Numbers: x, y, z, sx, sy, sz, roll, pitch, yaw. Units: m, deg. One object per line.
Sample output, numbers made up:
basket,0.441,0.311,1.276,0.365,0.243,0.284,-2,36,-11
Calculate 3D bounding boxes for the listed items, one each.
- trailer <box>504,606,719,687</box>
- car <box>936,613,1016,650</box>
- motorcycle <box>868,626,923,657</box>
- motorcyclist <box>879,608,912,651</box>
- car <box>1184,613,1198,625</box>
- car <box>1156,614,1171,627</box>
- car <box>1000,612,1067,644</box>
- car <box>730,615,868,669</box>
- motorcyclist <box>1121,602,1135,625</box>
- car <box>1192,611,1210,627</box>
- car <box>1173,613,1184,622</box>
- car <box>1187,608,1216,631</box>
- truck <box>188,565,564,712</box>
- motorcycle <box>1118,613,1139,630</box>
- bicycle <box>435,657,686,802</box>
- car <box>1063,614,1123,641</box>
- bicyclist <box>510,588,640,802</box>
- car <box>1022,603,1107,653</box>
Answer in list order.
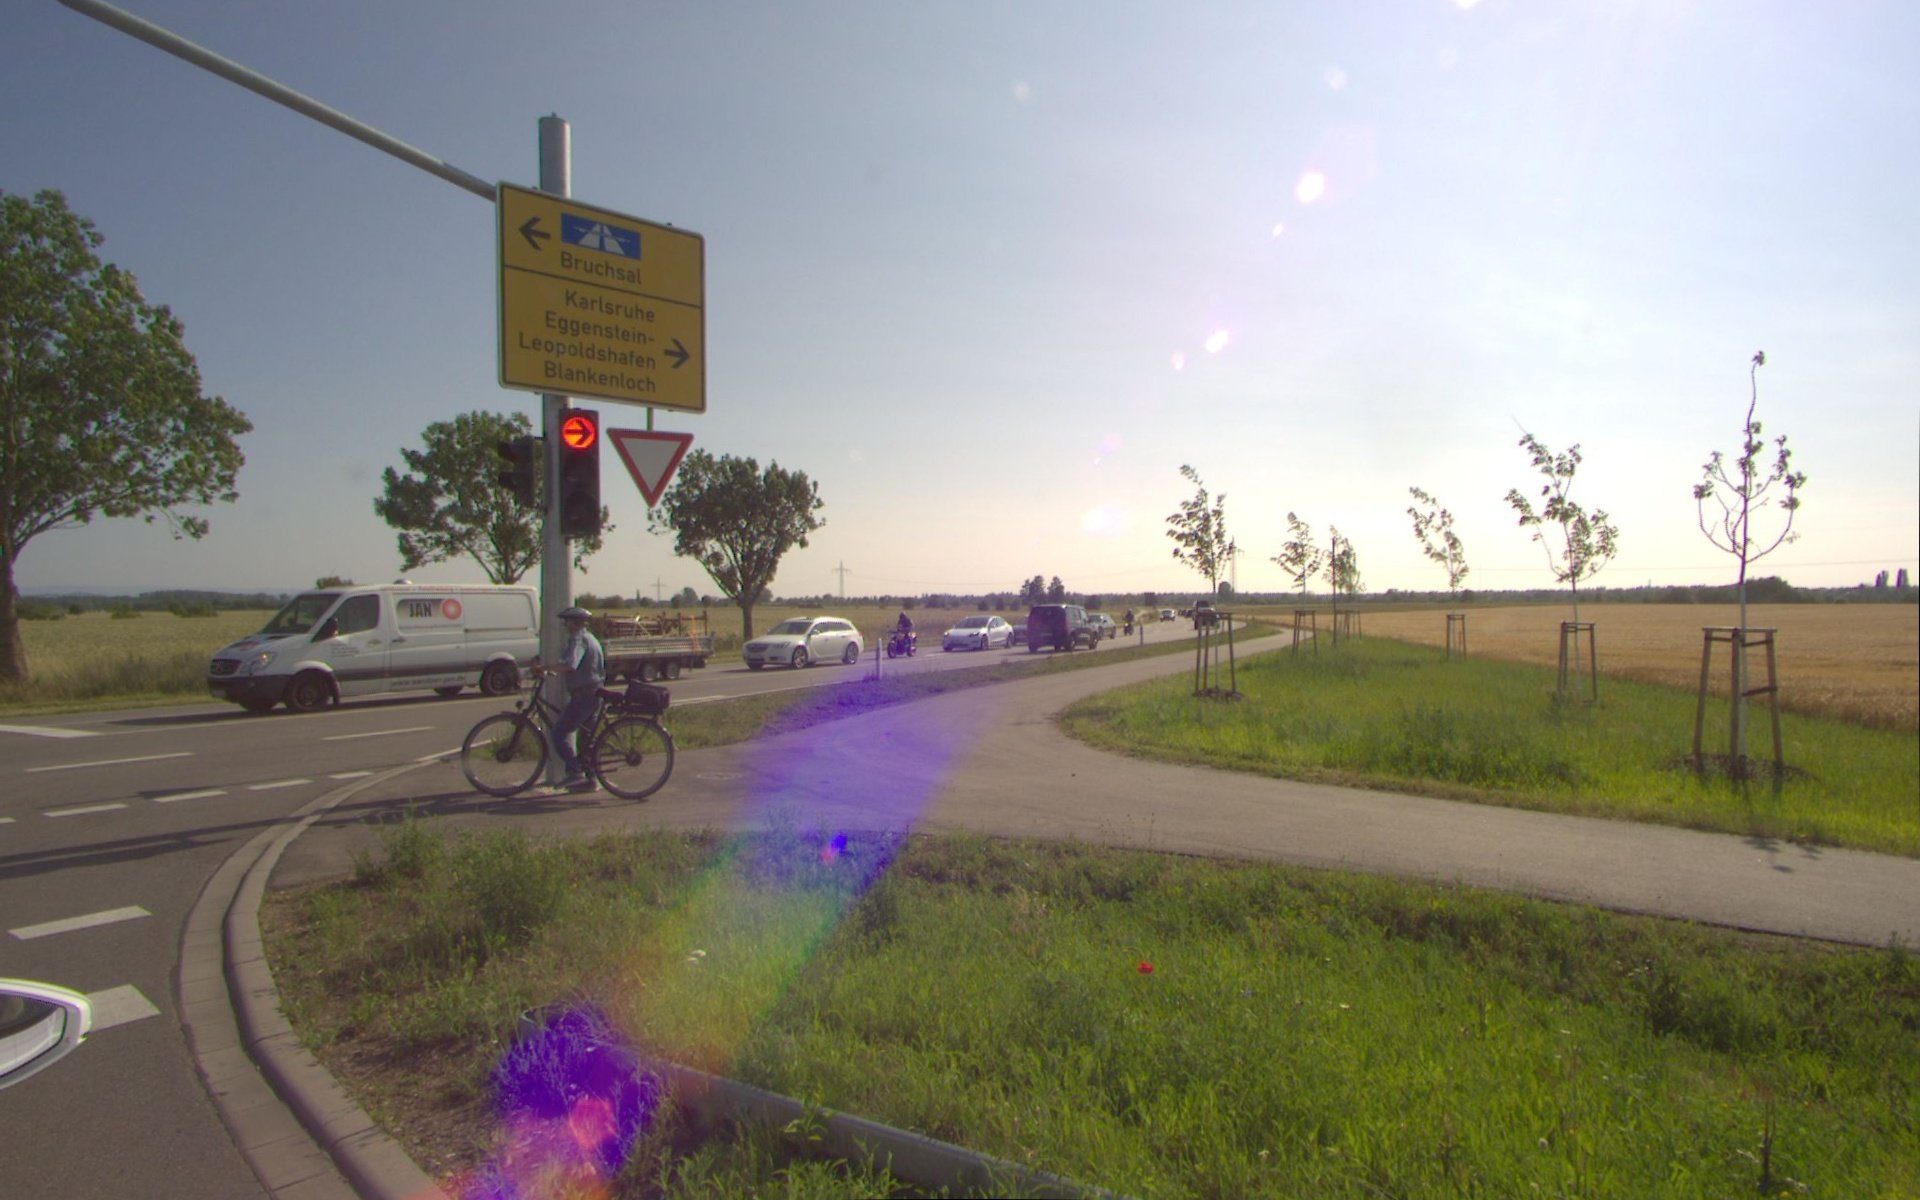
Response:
trailer,-8.370,1.060,24.583,1.951,1.760,4.991,-1,-1,28
car,0.752,1.318,42.933,1.865,1.485,4.262,-1,-1,25
motorcycle,-2.318,1.488,36.516,0.885,1.057,2.419,-1,0,26
motorcyclist,-2.333,1.068,36.463,0.670,1.535,1.176,-1,0,27
car,36.484,3.030,158.322,1.780,1.907,4.001,0,-2,8
car,26.617,2.649,131.247,1.855,1.646,3.999,-3,-2,11
car,3.684,1.348,49.182,1.866,1.480,4.292,-1,-1,25
car,-4.847,1.247,30.870,1.738,1.511,4.689,-1,-1,28
motorcyclist,11.074,0.873,65.984,0.669,1.515,0.844,-1,0,25
car,32.530,2.548,135.475,2.022,2.039,4.000,0,-2,9
car,42.441,3.389,194.592,1.899,1.715,3.887,0,-2,8
car,19.222,1.539,79.548,1.944,1.703,4.100,-1,-1,18
truck,-11.105,0.683,19.710,2.041,2.436,6.168,-1,-1,31
motorcycle,11.089,1.437,65.955,0.859,1.087,1.962,-1,0,25
bicycle,-3.434,1.131,8.788,1.910,1.165,0.681,3,-2,-13
car,7.565,1.526,56.548,1.866,1.455,4.779,-1,-1,27
bicyclist,-3.352,0.823,8.795,0.901,1.787,0.619,3,-2,-13
car,4.248,1.093,40.068,1.817,1.857,4.449,-1,-1,29
